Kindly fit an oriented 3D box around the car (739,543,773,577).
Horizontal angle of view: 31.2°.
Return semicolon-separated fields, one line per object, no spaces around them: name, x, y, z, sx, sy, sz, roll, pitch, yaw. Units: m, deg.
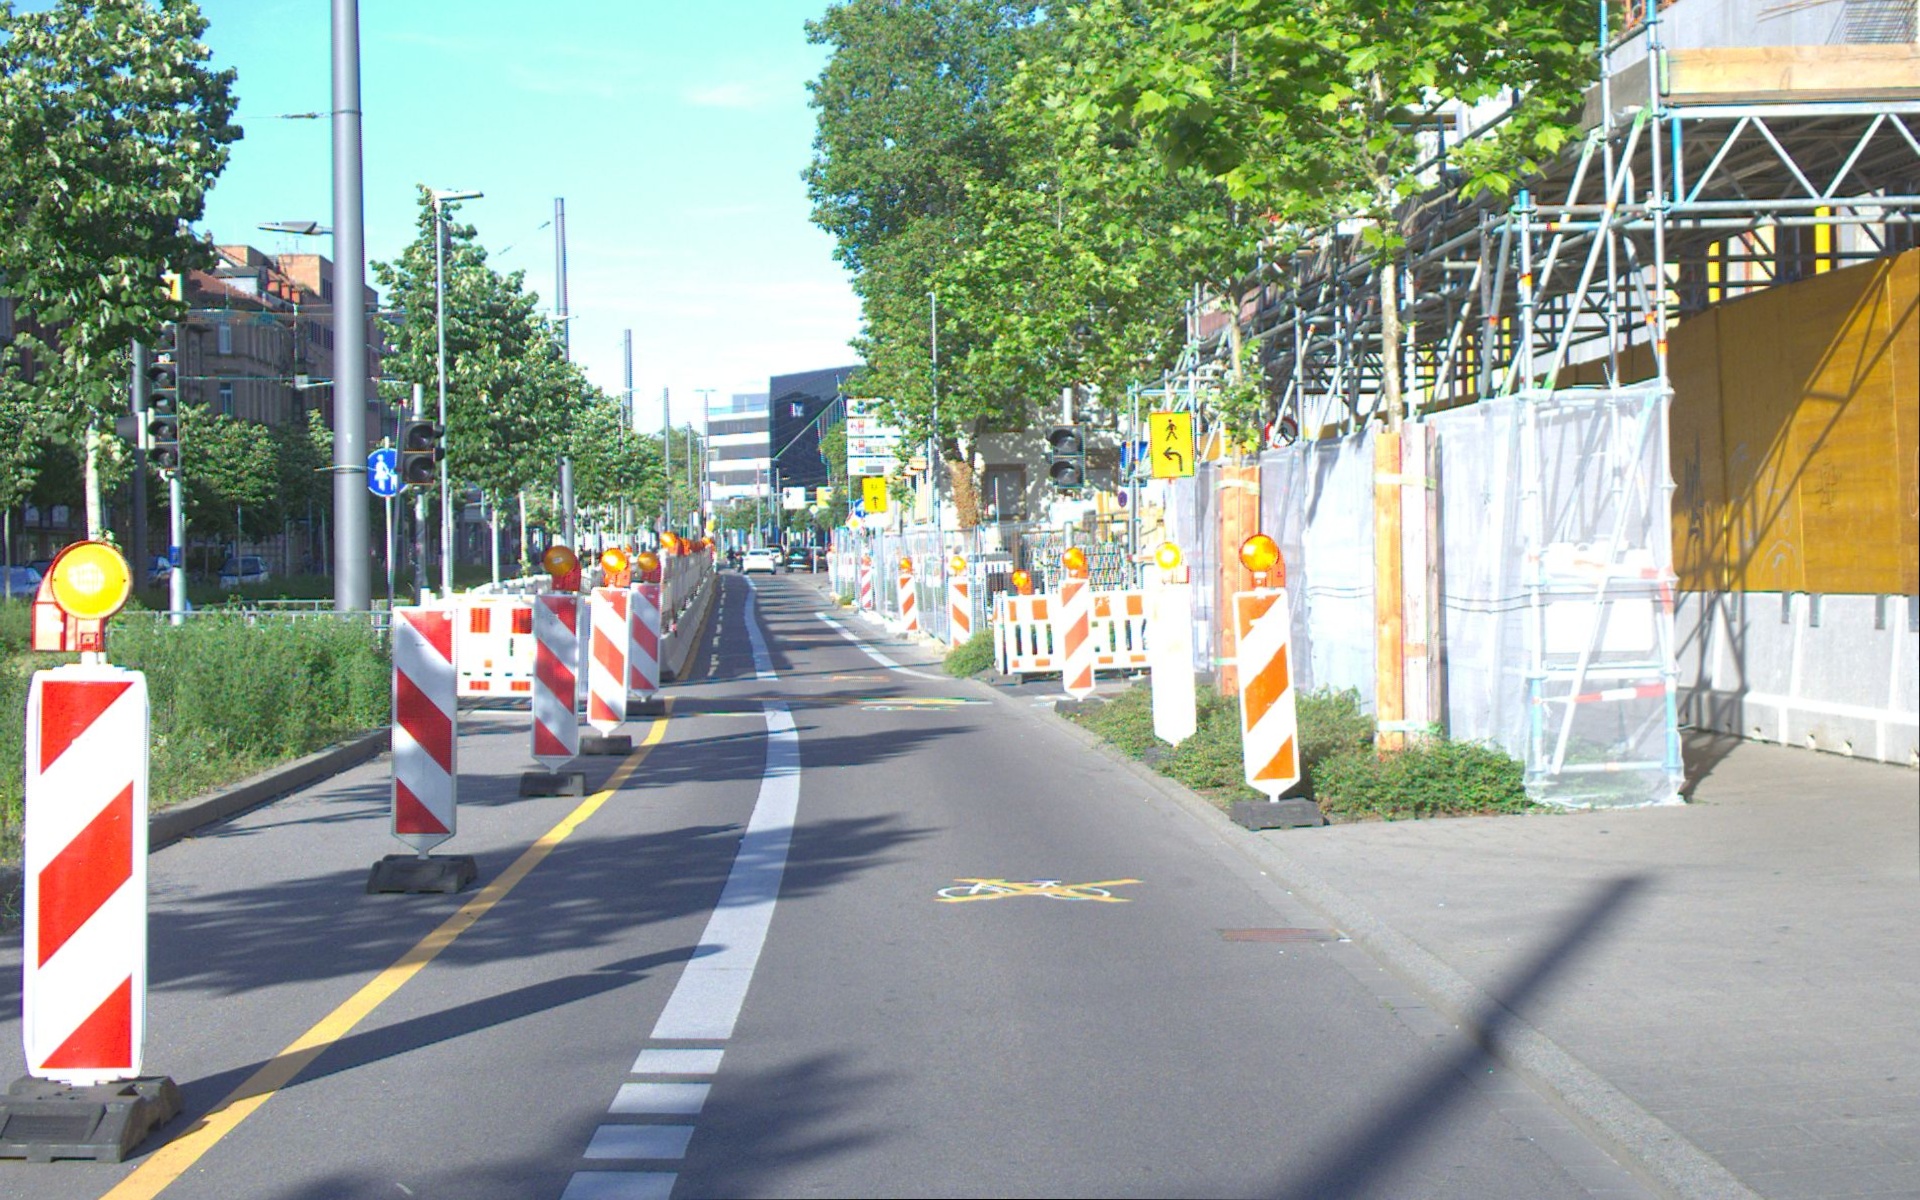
car;-11.504;-2.255;194.042;1.883;1.836;3.668;-1;1;-4

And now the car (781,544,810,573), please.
car;-11.073;-2.794;230.993;1.883;1.836;3.668;-1;1;-4

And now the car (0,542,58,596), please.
car;-28.013;-0.935;101.848;1.566;1.557;4.715;-1;1;-4

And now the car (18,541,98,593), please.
car;-28.419;-1.062;108.466;1.566;1.557;4.715;-1;1;-4

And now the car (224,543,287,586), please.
car;-24.666;-1.244;120.447;1.595;1.478;3.623;0;1;-2
